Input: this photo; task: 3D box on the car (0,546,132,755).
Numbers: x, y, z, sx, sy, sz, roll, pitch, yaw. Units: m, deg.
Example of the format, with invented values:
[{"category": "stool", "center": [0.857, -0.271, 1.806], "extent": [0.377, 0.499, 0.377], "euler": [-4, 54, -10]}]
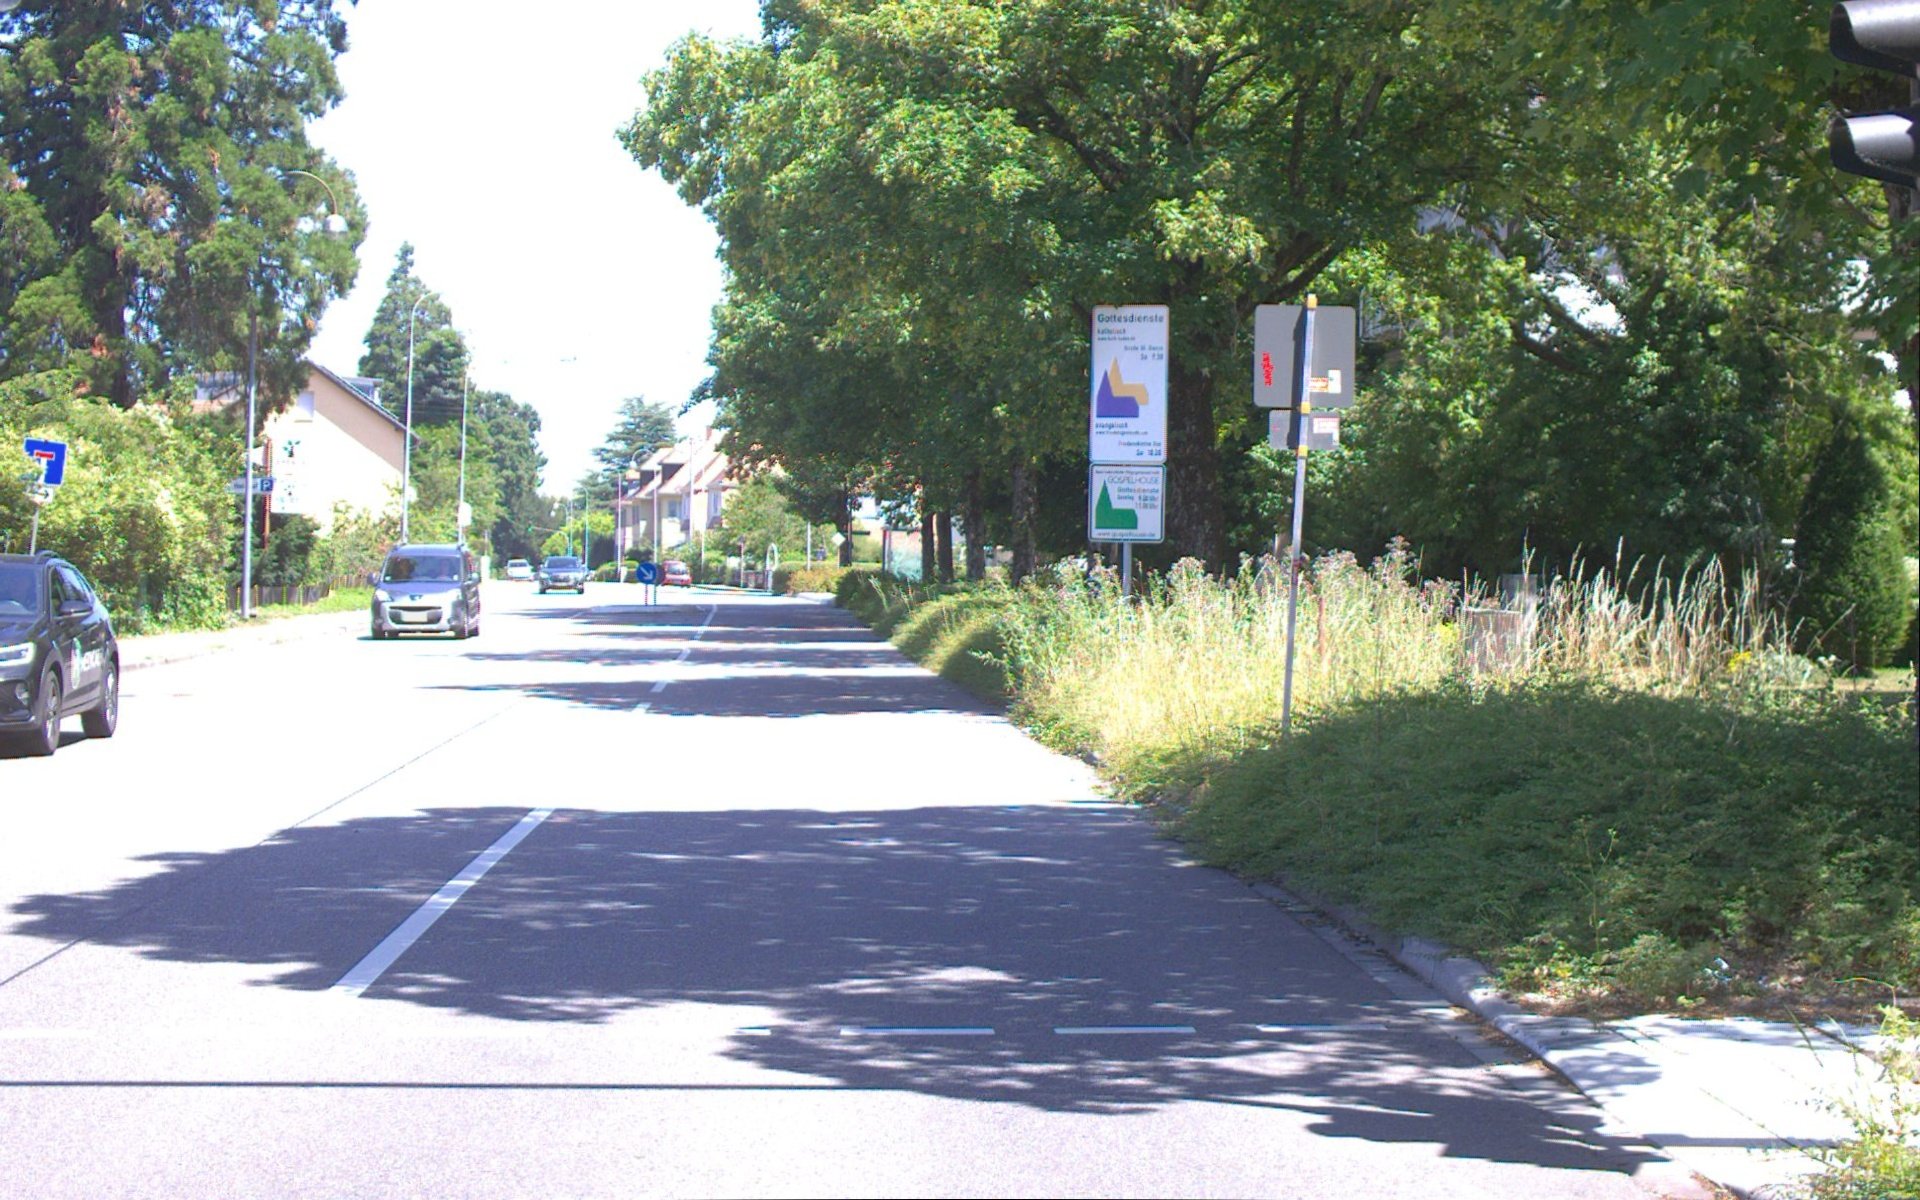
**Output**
[{"category": "car", "center": [-7.672, 0.331, 26.578], "extent": [1.869, 1.501, 4.053], "euler": [0, 1, -5]}]

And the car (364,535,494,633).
[{"category": "car", "center": [-9.982, -0.321, 64.943], "extent": [1.811, 1.756, 4.570], "euler": [1, 1, -1]}]

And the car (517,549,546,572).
[{"category": "car", "center": [-30.562, -2.831, 245.507], "extent": [1.680, 1.678, 4.000], "euler": [0, 1, -2]}]

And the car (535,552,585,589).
[{"category": "car", "center": [-16.666, -1.244, 143.284], "extent": [1.793, 1.531, 4.316], "euler": [0, 1, -3]}]

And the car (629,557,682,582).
[{"category": "car", "center": [-16.848, -1.668, 190.062], "extent": [1.943, 1.355, 4.465], "euler": [0, 1, -19]}]
